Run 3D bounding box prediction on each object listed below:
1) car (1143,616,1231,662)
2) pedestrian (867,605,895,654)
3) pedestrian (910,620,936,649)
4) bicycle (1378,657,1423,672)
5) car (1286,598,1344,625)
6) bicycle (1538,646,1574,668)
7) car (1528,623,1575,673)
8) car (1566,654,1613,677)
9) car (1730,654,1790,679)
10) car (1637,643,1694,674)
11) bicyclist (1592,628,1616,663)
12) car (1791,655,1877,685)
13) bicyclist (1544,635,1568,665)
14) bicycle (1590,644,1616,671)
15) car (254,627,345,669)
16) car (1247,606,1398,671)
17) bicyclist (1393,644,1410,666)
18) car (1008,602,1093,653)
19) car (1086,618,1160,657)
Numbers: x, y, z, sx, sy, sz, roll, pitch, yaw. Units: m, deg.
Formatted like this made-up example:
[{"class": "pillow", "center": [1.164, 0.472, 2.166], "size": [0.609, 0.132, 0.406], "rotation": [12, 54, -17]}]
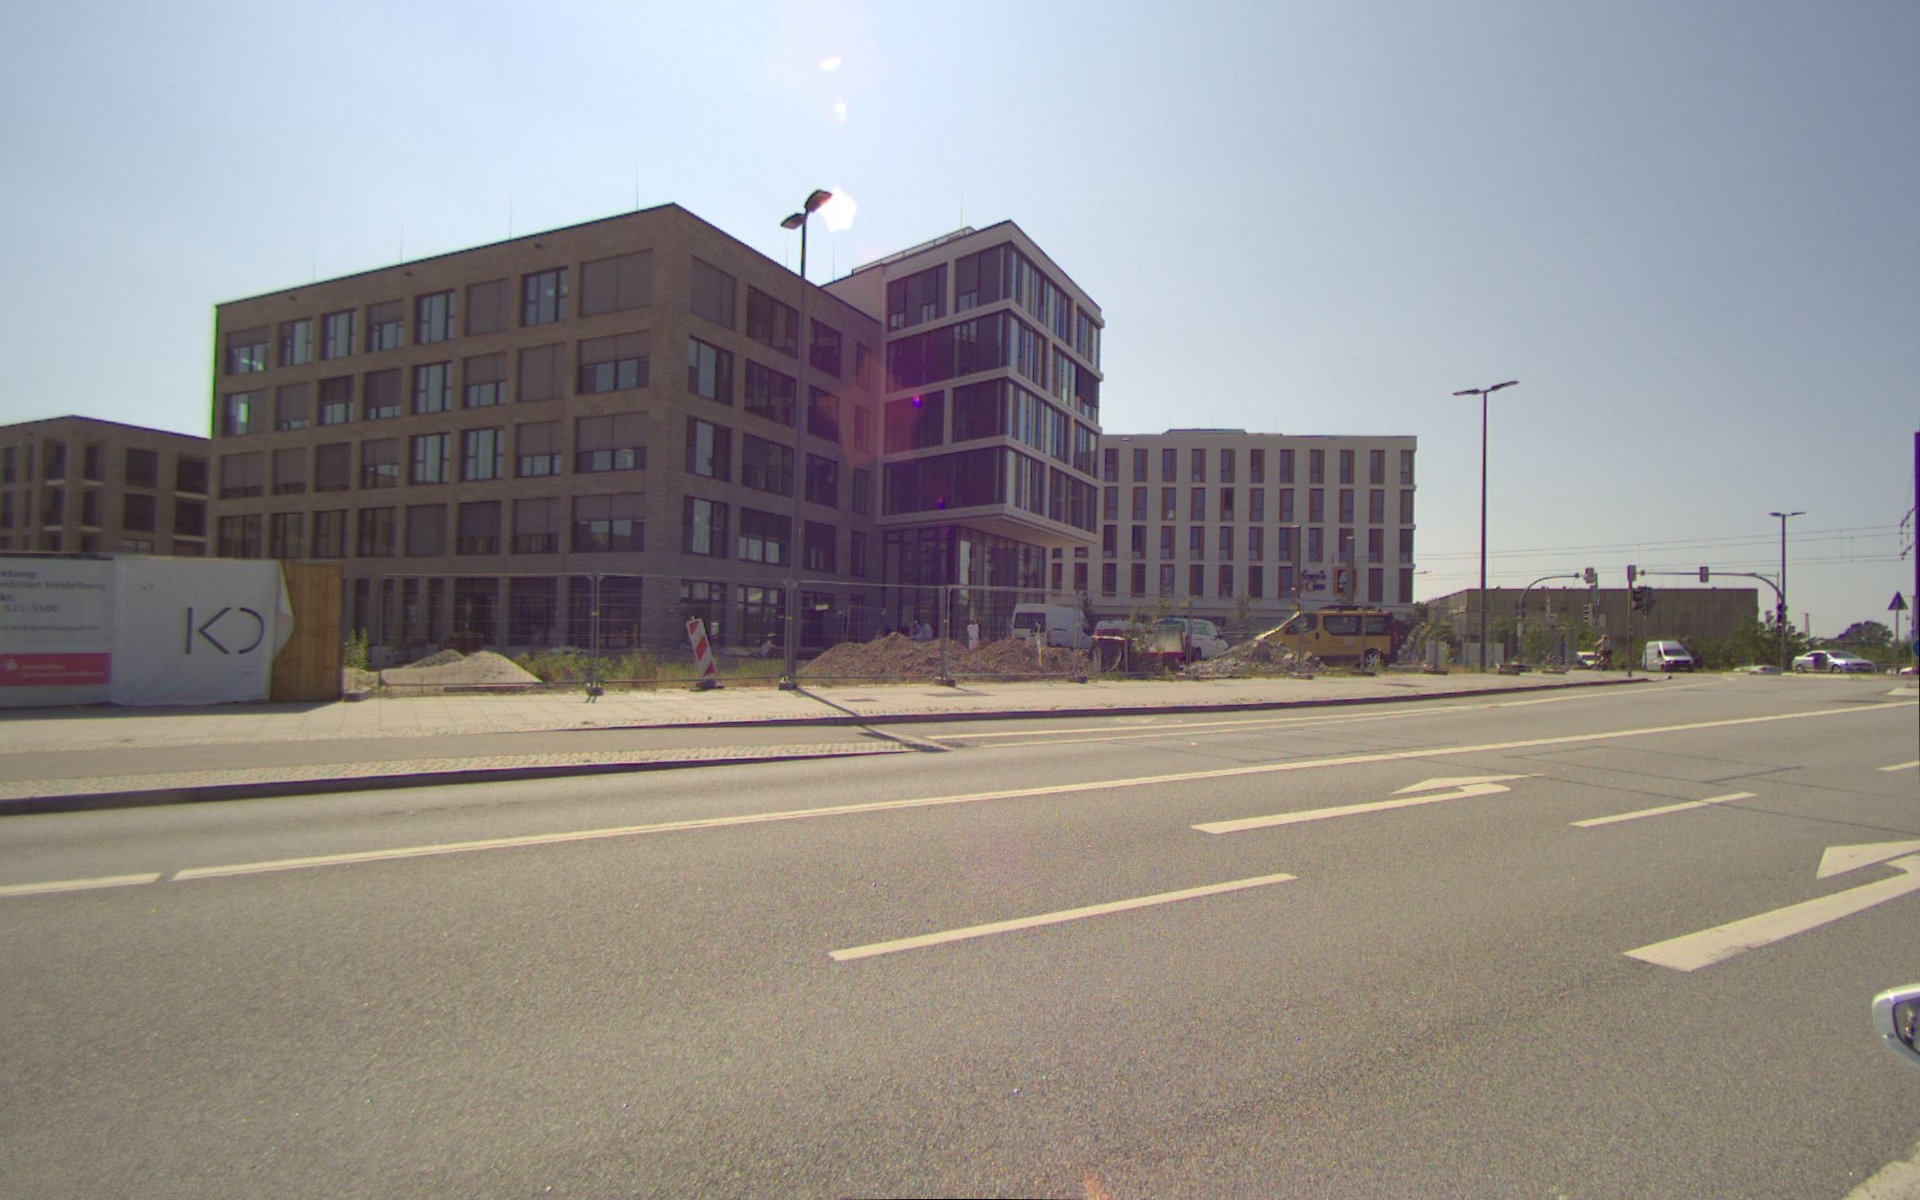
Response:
[{"class": "car", "center": [9.577, 1.618, 42.146], "size": [1.969, 1.730, 4.546], "rotation": [2, 0, 35]}, {"class": "pedestrian", "center": [-3.427, 1.276, 43.435], "size": [0.949, 2.040, 0.940], "rotation": [2, 0, -17]}, {"class": "pedestrian", "center": [-1.812, 1.698, 49.430], "size": [1.099, 1.391, 0.742], "rotation": [2, 0, -17]}, {"class": "bicycle", "center": [24.534, 3.597, 55.931], "size": [2.217, 0.701, 0.514], "rotation": [1, -1, 37]}, {"class": "car", "center": [28.975, 0.913, 81.969], "size": [1.986, 2.040, 3.949], "rotation": [2, 0, -43]}, {"class": "bicycle", "center": [32.596, 3.113, 54.994], "size": [0.714, 1.148, 2.535], "rotation": [-3, -4, 8]}, {"class": "car", "center": [26.329, 2.086, 44.668], "size": [1.646, 2.040, 3.991], "rotation": [2, 0, 32]}, {"class": "car", "center": [51.330, 5.331, 82.033], "size": [1.607, 1.544, 3.498], "rotation": [2, 0, 0]}, {"class": "car", "center": [62.312, 5.155, 78.339], "size": [1.796, 1.666, 4.212], "rotation": [2, 0, 10]}, {"class": "car", "center": [52.134, 4.266, 74.307], "size": [1.577, 2.040, 4.002], "rotation": [2, 0, 4]}, {"class": "bicyclist", "center": [30.266, 2.133, 47.226], "size": [0.807, 1.589, 0.947], "rotation": [2, 0, 25]}, {"class": "car", "center": [48.766, 3.874, 56.155], "size": [1.736, 1.350, 3.716], "rotation": [2, 0, 5]}, {"class": "bicyclist", "center": [32.580, 2.704, 54.910], "size": [0.845, 1.580, 0.825], "rotation": [2, 0, 9]}, {"class": "bicycle", "center": [30.296, 2.686, 47.338], "size": [0.664, 1.142, 2.364], "rotation": [2, 0, 24]}, {"class": "car", "center": [-30.409, 2.178, 46.227], "size": [3.708, 1.675, 1.834], "rotation": [2, 0, 26]}, {"class": "car", "center": [12.079, 1.249, 33.769], "size": [4.395, 1.915, 2.001], "rotation": [2, 0, 8]}, {"class": "bicyclist", "center": [24.552, 3.080, 55.818], "size": [0.649, 1.190, 0.728], "rotation": [-4, -6, 39]}, {"class": "car", "center": [4.083, 1.229, 44.717], "size": [2.175, 2.083, 4.164], "rotation": [2, 0, 30]}, {"class": "car", "center": [7.148, 1.603, 43.669], "size": [1.773, 1.528, 3.991], "rotation": [2, 0, 31]}]
